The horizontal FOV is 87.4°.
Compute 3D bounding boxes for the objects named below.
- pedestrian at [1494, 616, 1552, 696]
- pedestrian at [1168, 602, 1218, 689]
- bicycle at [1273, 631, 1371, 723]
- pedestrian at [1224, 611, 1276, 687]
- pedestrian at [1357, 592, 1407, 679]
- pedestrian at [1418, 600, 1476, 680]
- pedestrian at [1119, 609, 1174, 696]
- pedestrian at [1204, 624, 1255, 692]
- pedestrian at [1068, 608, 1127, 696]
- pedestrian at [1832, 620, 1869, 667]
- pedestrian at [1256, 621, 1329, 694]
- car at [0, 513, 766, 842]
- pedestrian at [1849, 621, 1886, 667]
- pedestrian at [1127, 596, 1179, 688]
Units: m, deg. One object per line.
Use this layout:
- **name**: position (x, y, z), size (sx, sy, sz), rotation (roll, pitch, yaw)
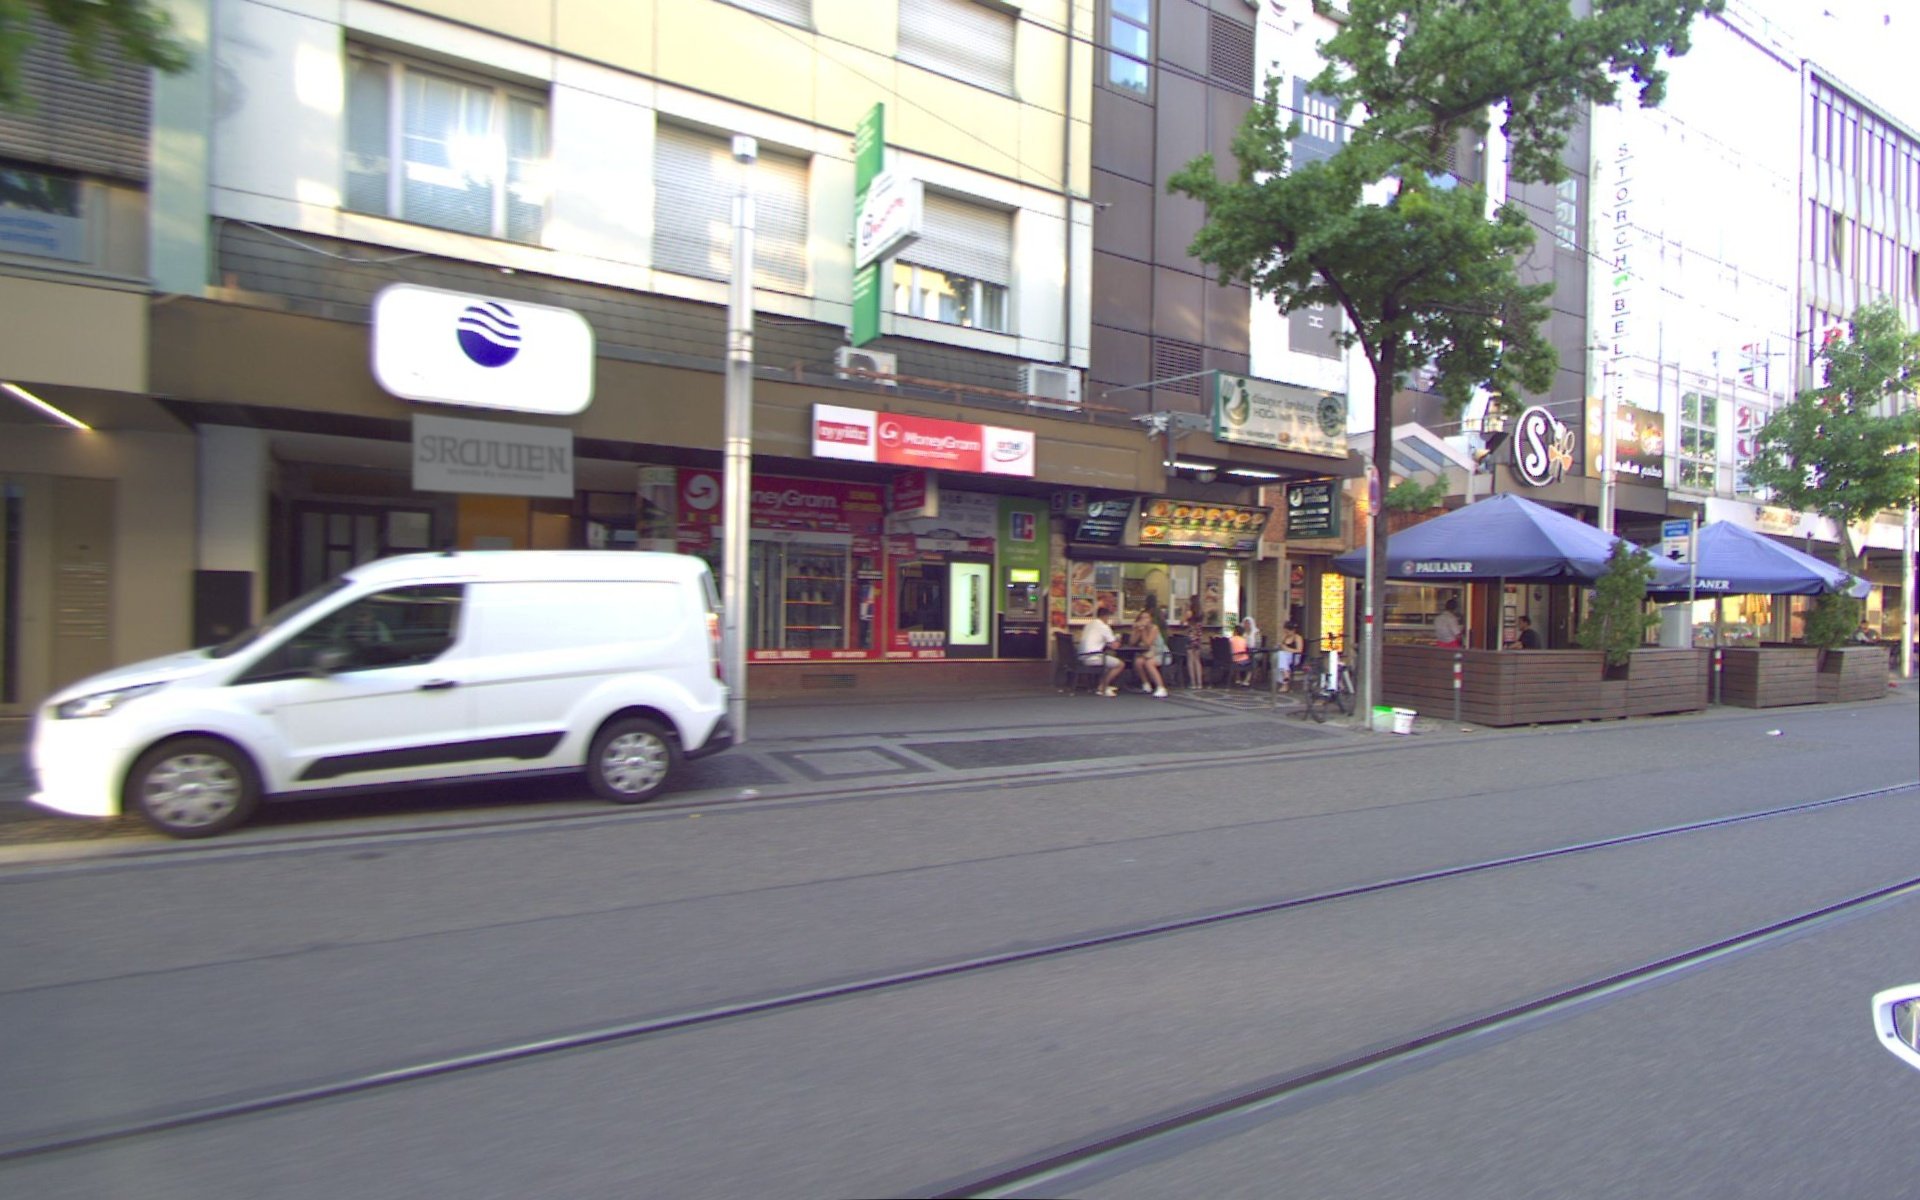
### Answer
- **pedestrian**: position (9.470, 0.930, 16.897), size (0.598, 1.273, 0.556), rotation (2, 3, -30)
- **pedestrian**: position (3.872, 0.754, 16.720), size (0.597, 1.391, 0.442), rotation (2, 2, -21)
- **bicycle**: position (5.089, 1.021, 14.014), size (0.800, 1.118, 2.160), rotation (1, 0, 33)
- **pedestrian**: position (5.062, 0.846, 17.559), size (0.598, 1.274, 0.557), rotation (2, 2, -26)
- **pedestrian**: position (8.128, 0.683, 19.336), size (0.554, 1.618, 0.601), rotation (2, 2, -28)
- **pedestrian**: position (8.136, 0.664, 16.795), size (0.554, 1.273, 0.601), rotation (2, 3, -28)
- **pedestrian**: position (2.883, 0.802, 15.525), size (0.580, 1.273, 0.519), rotation (2, 3, -30)
- **pedestrian**: position (4.397, 0.941, 16.430), size (0.649, 1.043, 0.454), rotation (3, 2, 0)
- **pedestrian**: position (2.058, 0.777, 15.046), size (0.653, 1.259, 0.509), rotation (2, 3, -30)
- **pedestrian**: position (26.622, 1.306, 30.039), size (0.717, 1.337, 0.571), rotation (2, 2, -30)
- **pedestrian**: position (5.566, 0.961, 16.855), size (0.766, 1.135, 0.820), rotation (2, 2, -20)
- **car**: position (-3.894, 0.479, 7.450), size (4.461, 1.842, 1.786), rotation (2, 1, -29)
- **pedestrian**: position (27.673, 1.340, 30.628), size (0.717, 1.337, 0.571), rotation (2, 2, -30)
- **pedestrian**: position (3.144, 0.676, 16.394), size (0.505, 1.453, 0.607), rotation (2, 3, -27)
